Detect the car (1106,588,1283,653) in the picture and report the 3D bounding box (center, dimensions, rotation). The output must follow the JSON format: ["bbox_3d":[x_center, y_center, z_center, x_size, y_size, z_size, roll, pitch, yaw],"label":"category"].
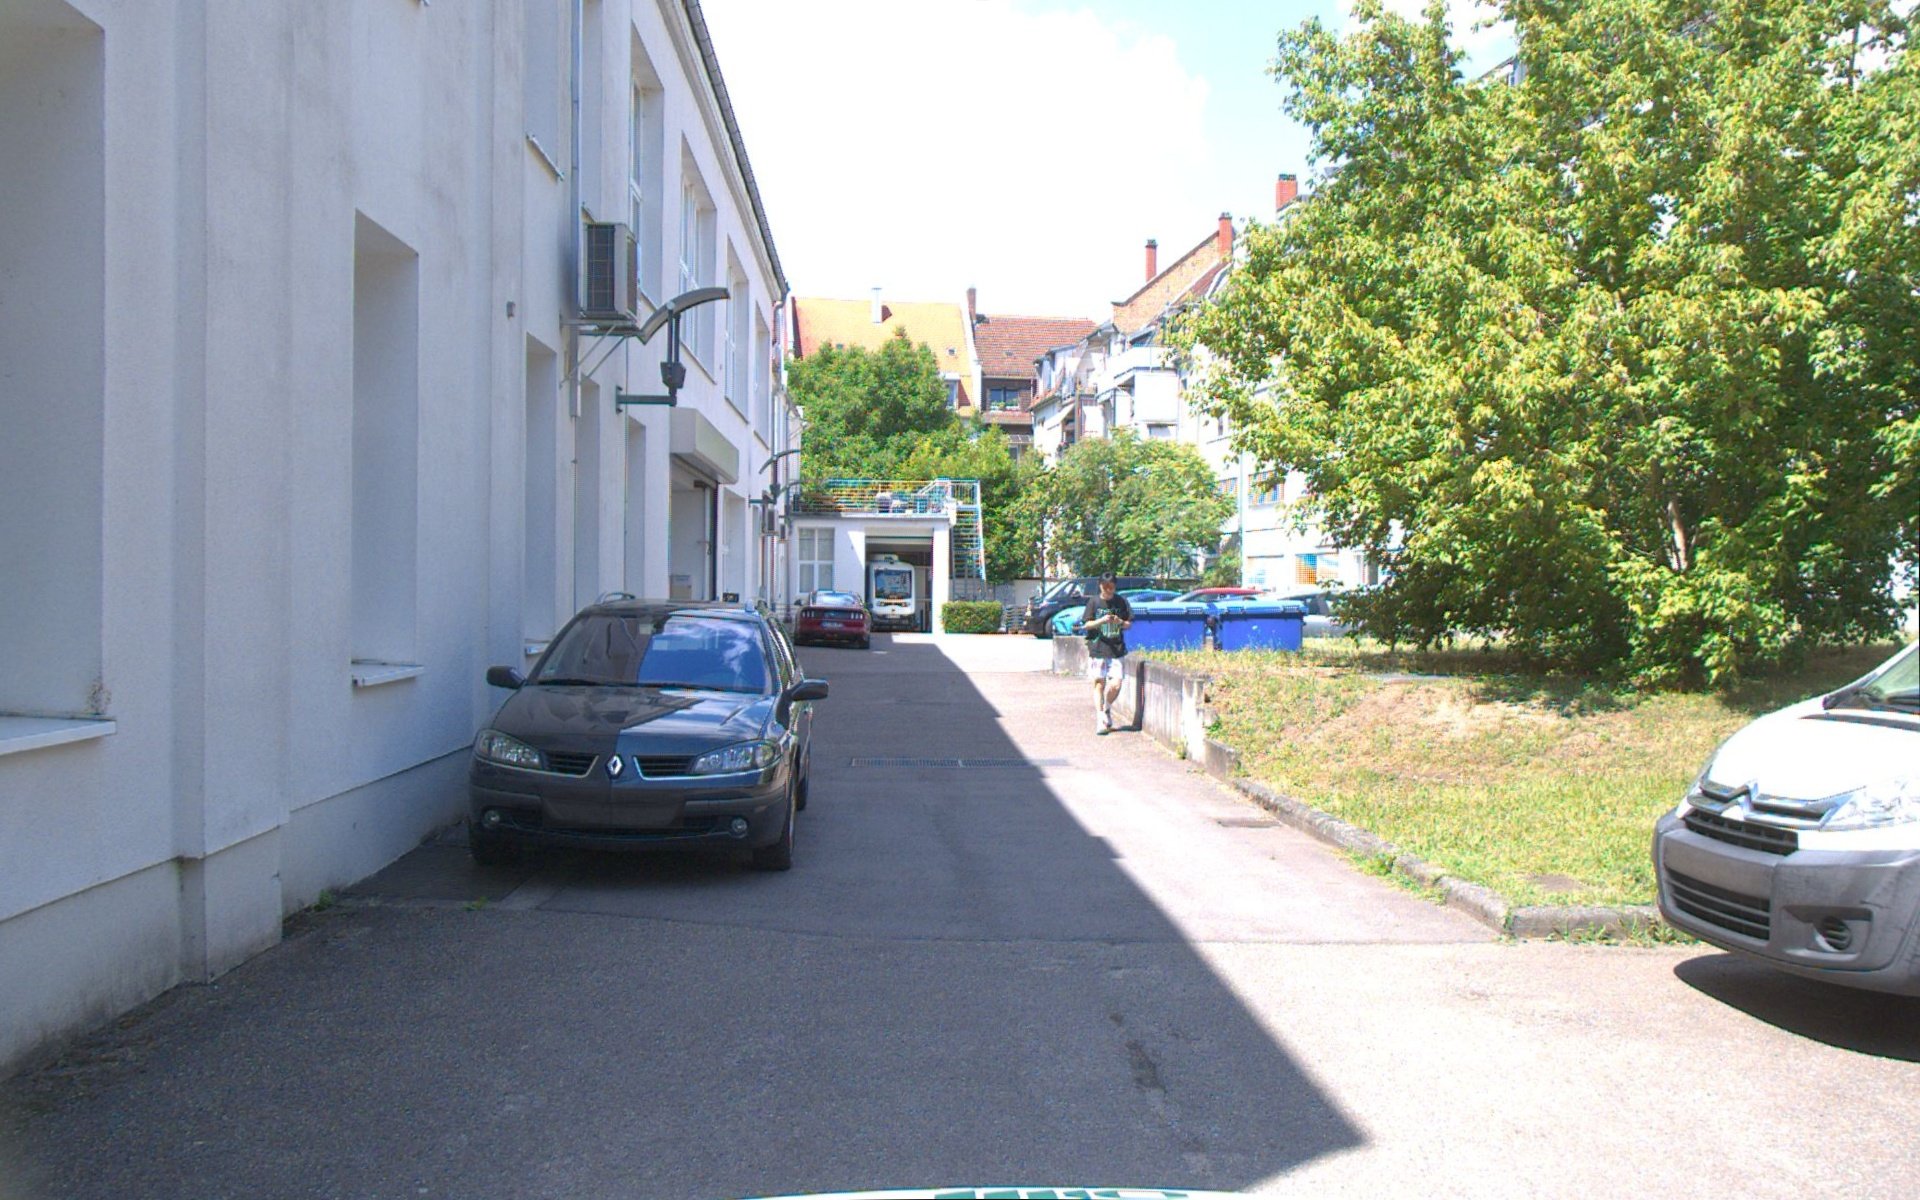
[{"bbox_3d":[5.584,0.479,39.694,3.909,1.504,1.803,0,1,-5],"label":"car"}]

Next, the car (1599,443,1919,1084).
[{"bbox_3d":[5.197,0.533,6.432,4.664,2.049,1.999,0,0,-3],"label":"car"}]

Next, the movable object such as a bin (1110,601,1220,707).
[{"bbox_3d":[2.696,0.701,21.946,1.311,1.350,1.160,0,0,-1],"label":"movable object such as a bin"}]

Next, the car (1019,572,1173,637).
[{"bbox_3d":[4.262,0.127,52.291,4.586,1.992,2.075,0,1,-5],"label":"car"}]

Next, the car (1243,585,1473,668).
[{"bbox_3d":[7.522,0.483,31.492,3.909,1.504,1.803,0,1,-5],"label":"car"}]

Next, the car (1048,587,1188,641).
[{"bbox_3d":[4.665,0.388,49.272,3.909,1.561,1.803,0,1,-5],"label":"car"}]

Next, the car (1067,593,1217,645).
[{"bbox_3d":[5.072,0.511,46.312,3.909,1.414,1.803,0,1,-5],"label":"car"}]

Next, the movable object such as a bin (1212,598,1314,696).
[{"bbox_3d":[4.333,0.656,23.756,1.192,1.350,1.159,0,0,-5],"label":"movable object such as a bin"}]

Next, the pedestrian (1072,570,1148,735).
[{"bbox_3d":[1.656,0.570,18.316,0.742,1.786,0.751,0,0,-2],"label":"pedestrian"}]

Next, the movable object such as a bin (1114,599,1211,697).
[{"bbox_3d":[2.888,0.669,23.706,1.169,1.350,1.159,0,0,-5],"label":"movable object such as a bin"}]

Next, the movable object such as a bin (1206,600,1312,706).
[{"bbox_3d":[3.963,0.689,22.041,1.191,1.350,1.160,0,0,-1],"label":"movable object such as a bin"}]

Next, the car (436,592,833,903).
[{"bbox_3d":[-1.748,0.709,10.235,1.719,1.455,4.385,0,1,-2],"label":"car"}]

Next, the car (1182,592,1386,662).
[{"bbox_3d":[6.814,0.548,34.970,3.909,1.414,1.803,0,1,-5],"label":"car"}]

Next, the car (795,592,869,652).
[{"bbox_3d":[-3.212,0.515,41.844,1.763,1.414,3.997,0,1,-4],"label":"car"}]

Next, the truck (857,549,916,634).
[{"bbox_3d":[-2.747,-0.306,60.897,1.754,2.988,4.645,0,0,-8],"label":"truck"}]
